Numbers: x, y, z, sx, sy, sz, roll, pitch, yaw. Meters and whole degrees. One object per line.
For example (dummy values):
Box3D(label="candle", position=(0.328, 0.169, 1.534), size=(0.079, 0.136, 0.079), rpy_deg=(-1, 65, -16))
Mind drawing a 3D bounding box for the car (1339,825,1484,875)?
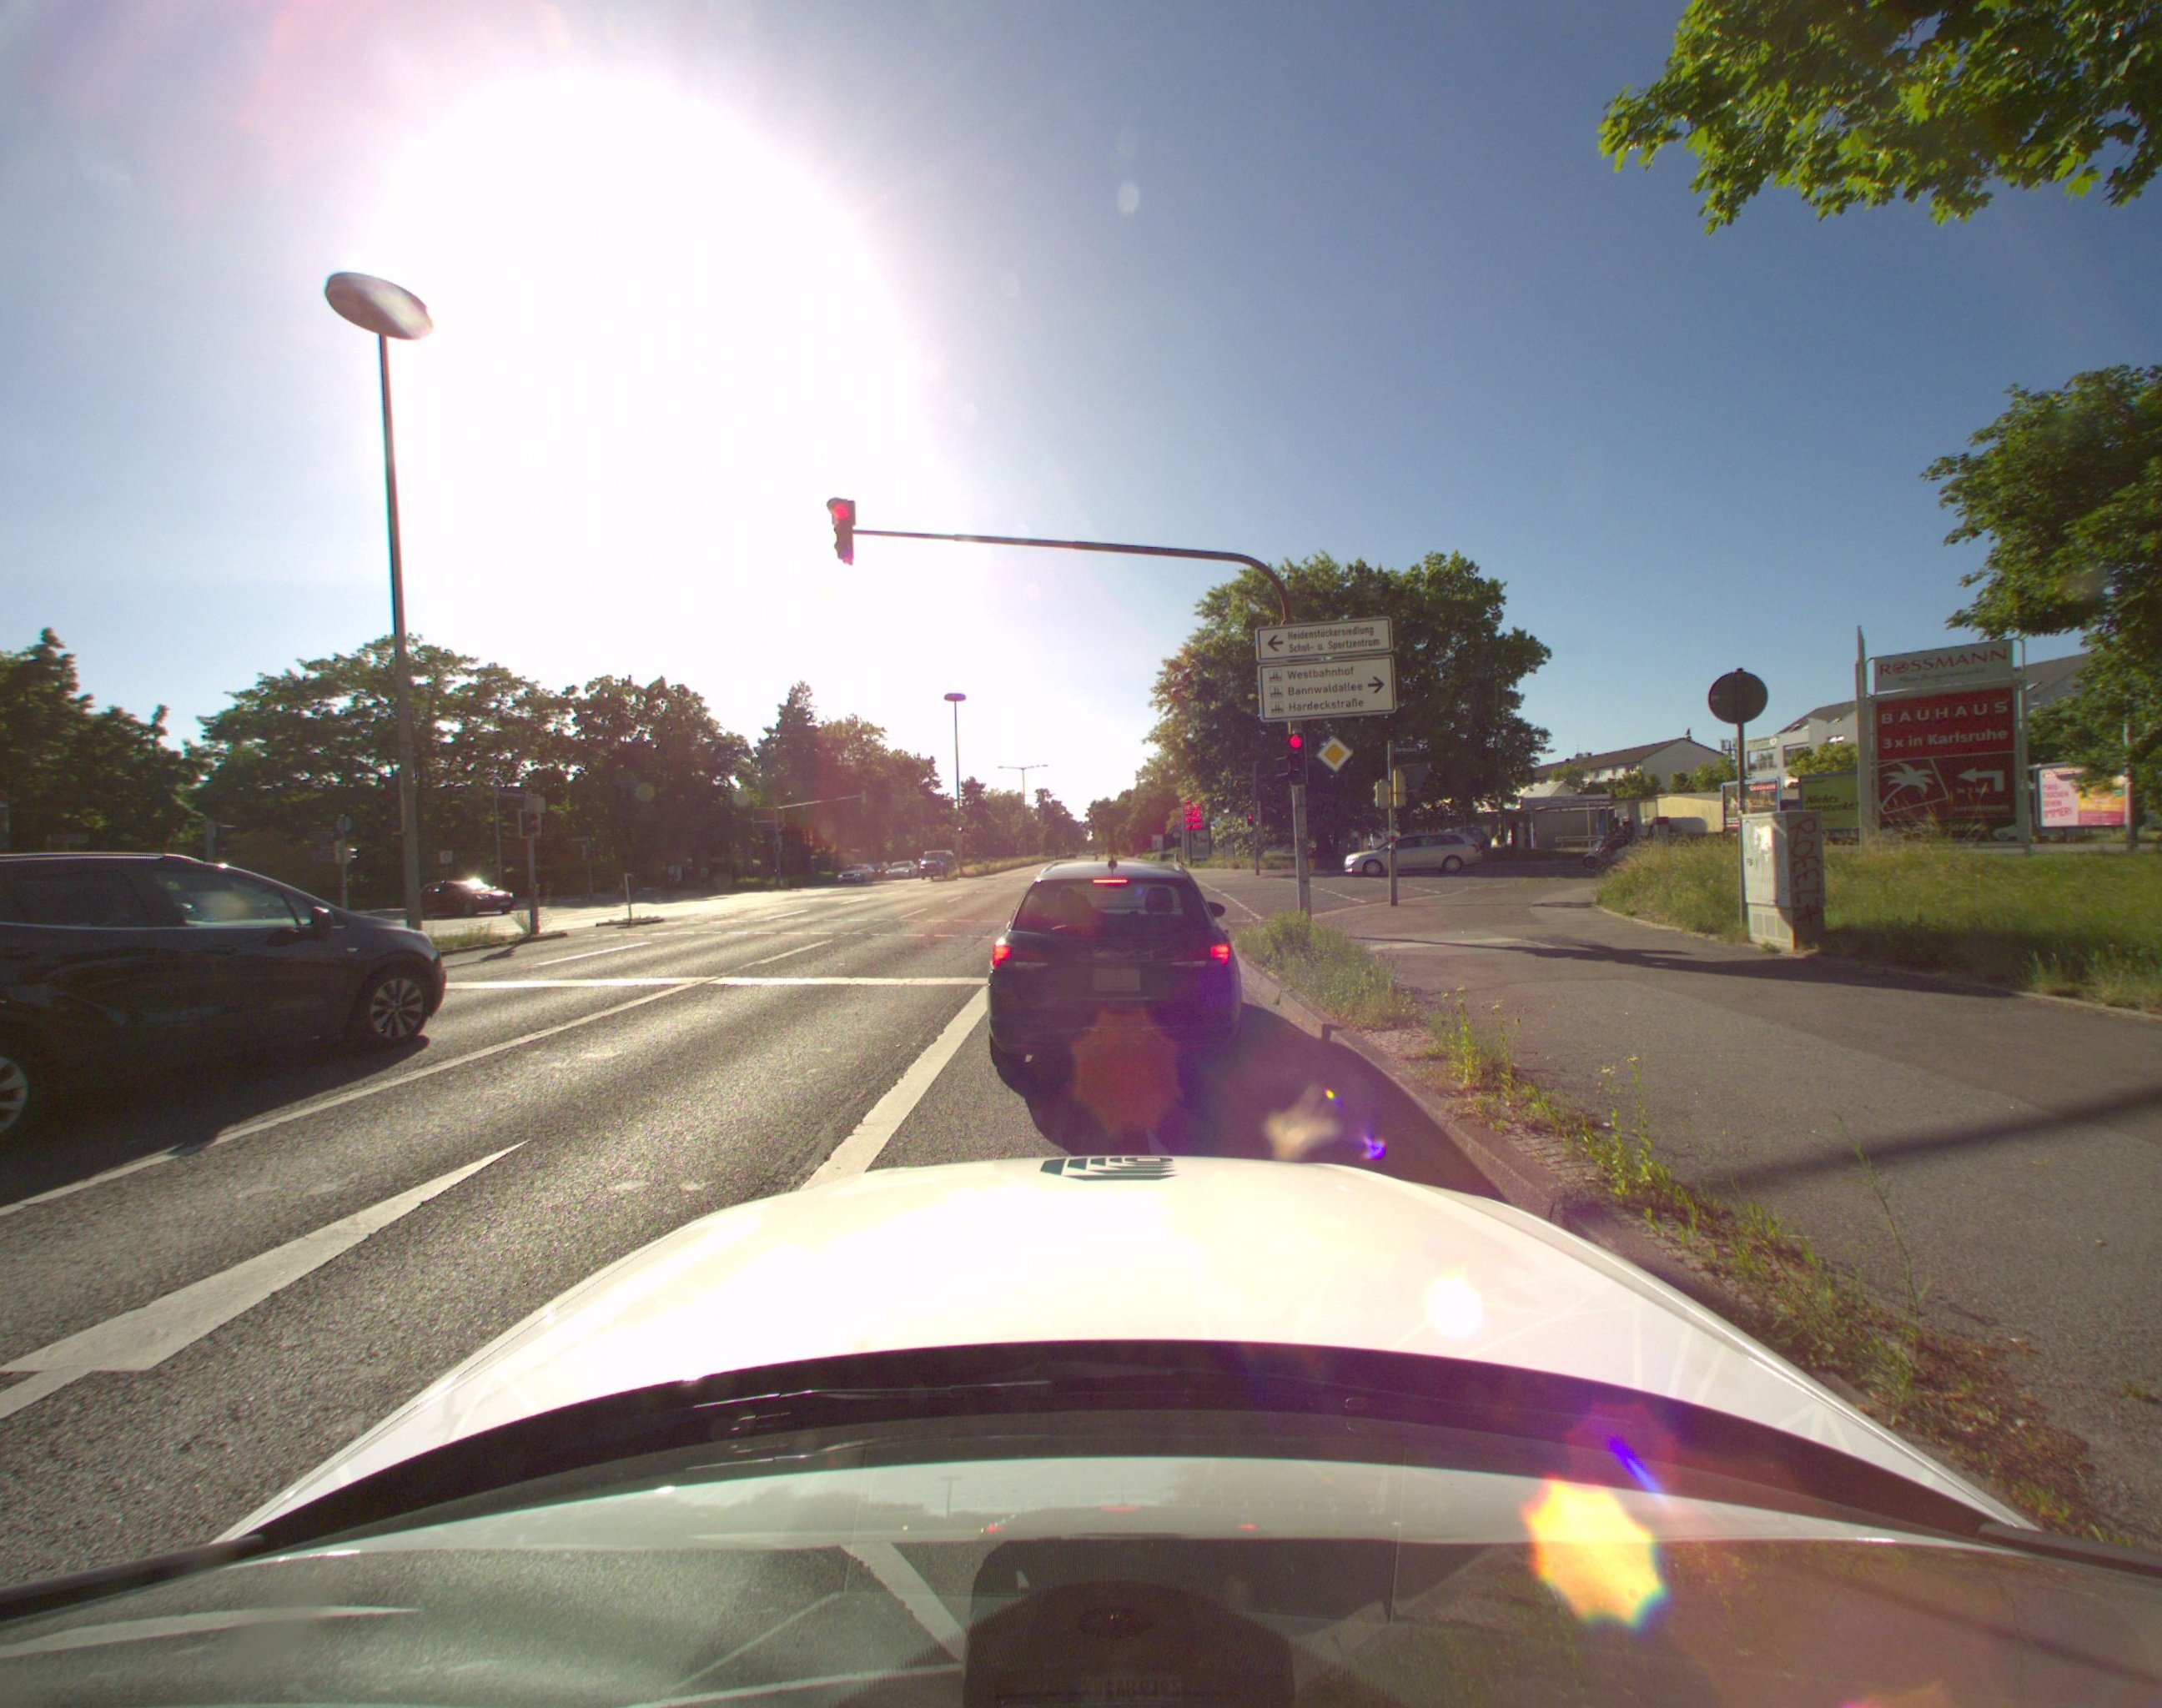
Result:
Box3D(label="car", position=(11.899, -0.103, 29.643), size=(4.586, 1.574, 2.007), rpy_deg=(-2, -1, 13))

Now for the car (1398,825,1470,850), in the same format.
Box3D(label="car", position=(21.411, -0.975, 49.411), size=(3.846, 1.482, 1.794), rpy_deg=(0, -1, -18))

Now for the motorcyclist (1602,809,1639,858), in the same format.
Box3D(label="motorcyclist", position=(18.519, -0.687, 27.958), size=(0.853, 1.680, 0.838), rpy_deg=(0, -1, 18))

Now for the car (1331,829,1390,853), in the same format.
Box3D(label="car", position=(19.385, -0.862, 56.444), size=(3.860, 1.563, 1.787), rpy_deg=(0, -1, -31))

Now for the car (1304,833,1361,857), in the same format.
Box3D(label="car", position=(18.162, -0.598, 58.832), size=(3.729, 1.685, 1.690), rpy_deg=(0, -1, -25))

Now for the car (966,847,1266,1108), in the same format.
Box3D(label="car", position=(0.261, 0.750, 6.754), size=(1.749, 1.509, 3.810), rpy_deg=(-1, -1, 1))

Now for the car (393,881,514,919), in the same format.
Box3D(label="car", position=(-26.052, 1.880, 33.842), size=(3.892, 1.423, 1.876), rpy_deg=(0, -1, 12))

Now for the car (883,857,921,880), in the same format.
Box3D(label="car", position=(-13.901, 1.107, 63.483), size=(1.857, 1.684, 4.002), rpy_deg=(-4, -1, 2))

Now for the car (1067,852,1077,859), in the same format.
Box3D(label="car", position=(-1.884, 0.360, 176.553), size=(1.881, 1.552, 4.001), rpy_deg=(-2, -1, 2))

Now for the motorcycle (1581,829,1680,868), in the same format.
Box3D(label="motorcycle", position=(18.767, -0.178, 27.883), size=(2.703, 1.270, 0.838), rpy_deg=(0, -1, 17))

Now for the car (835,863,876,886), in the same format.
Box3D(label="car", position=(-17.268, 1.517, 62.491), size=(1.857, 1.684, 4.262), rpy_deg=(0, 0, 2))

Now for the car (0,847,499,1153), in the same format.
Box3D(label="car", position=(-6.589, 0.811, 5.701), size=(1.689, 1.632, 4.419), rpy_deg=(-2, 0, 2))

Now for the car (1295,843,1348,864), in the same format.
Box3D(label="car", position=(19.030, -0.040, 64.629), size=(3.701, 1.685, 1.703), rpy_deg=(0, -1, -1))

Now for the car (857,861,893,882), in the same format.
Box3D(label="car", position=(-17.611, 1.459, 69.721), size=(1.986, 1.750, 4.001), rpy_deg=(0, 0, 2))

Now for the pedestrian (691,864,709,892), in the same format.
Box3D(label="pedestrian", position=(-24.972, 1.572, 53.394), size=(0.841, 1.835, 0.550), rpy_deg=(-3, 0, 5))

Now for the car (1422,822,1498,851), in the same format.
Box3D(label="car", position=(22.137, -1.019, 47.636), size=(3.846, 1.612, 1.794), rpy_deg=(0, -1, -18))

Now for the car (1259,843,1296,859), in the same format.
Box3D(label="car", position=(22.043, -0.334, 91.486), size=(3.701, 1.685, 1.703), rpy_deg=(0, -1, -1))

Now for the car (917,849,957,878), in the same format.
Box3D(label="car", position=(-10.265, 0.673, 58.235), size=(1.986, 2.014, 4.001), rpy_deg=(0, 0, 2))

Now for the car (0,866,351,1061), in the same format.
Box3D(label="car", position=(-9.971, 0.974, 7.991), size=(1.778, 1.610, 4.107), rpy_deg=(-2, 0, 2))
